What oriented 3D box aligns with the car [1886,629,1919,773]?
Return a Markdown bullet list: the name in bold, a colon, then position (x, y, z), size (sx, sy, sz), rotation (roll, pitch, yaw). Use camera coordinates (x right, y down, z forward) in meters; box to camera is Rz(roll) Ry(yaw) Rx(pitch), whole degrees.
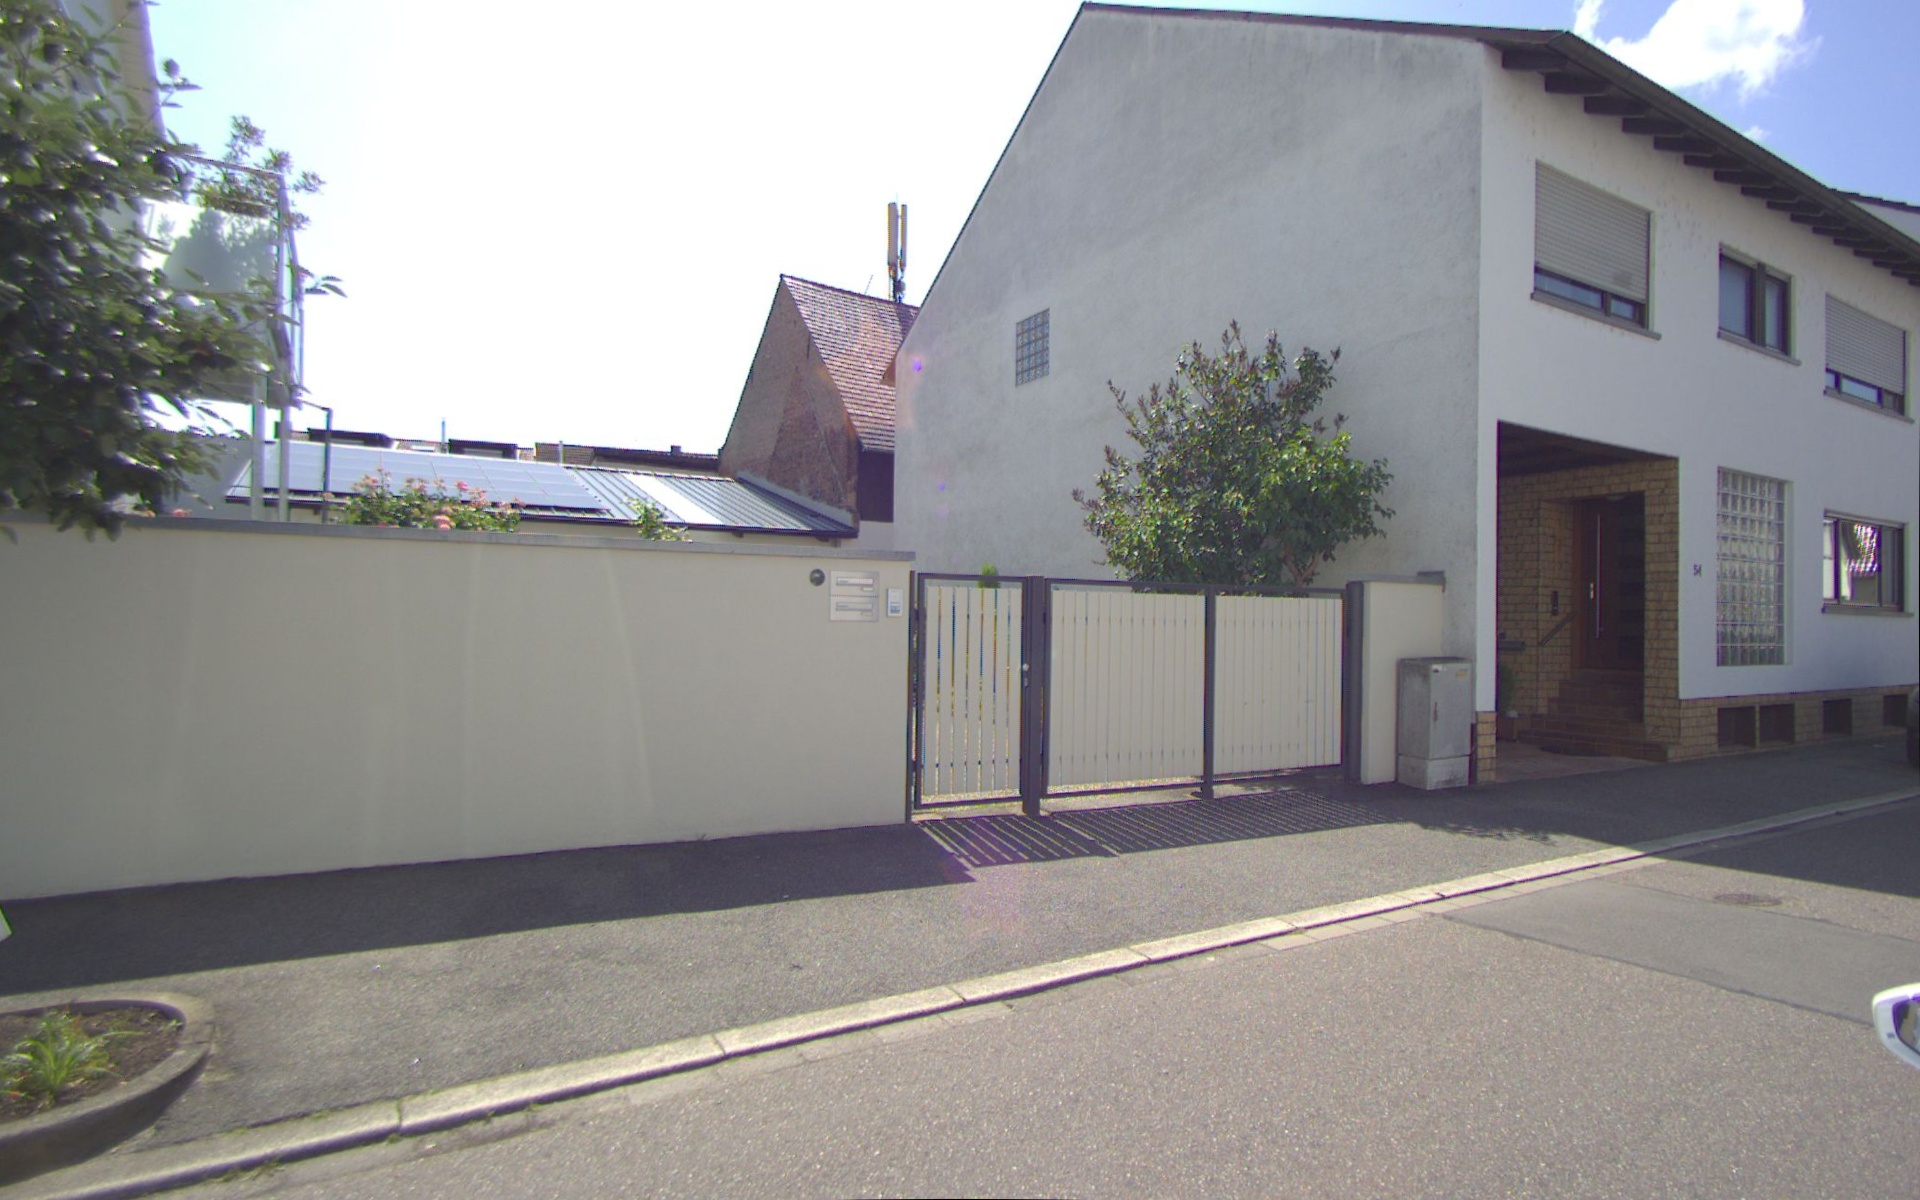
- **car**: position (12.482, 1.132, 11.492), size (4.242, 1.545, 1.749), rotation (1, -1, -32)
